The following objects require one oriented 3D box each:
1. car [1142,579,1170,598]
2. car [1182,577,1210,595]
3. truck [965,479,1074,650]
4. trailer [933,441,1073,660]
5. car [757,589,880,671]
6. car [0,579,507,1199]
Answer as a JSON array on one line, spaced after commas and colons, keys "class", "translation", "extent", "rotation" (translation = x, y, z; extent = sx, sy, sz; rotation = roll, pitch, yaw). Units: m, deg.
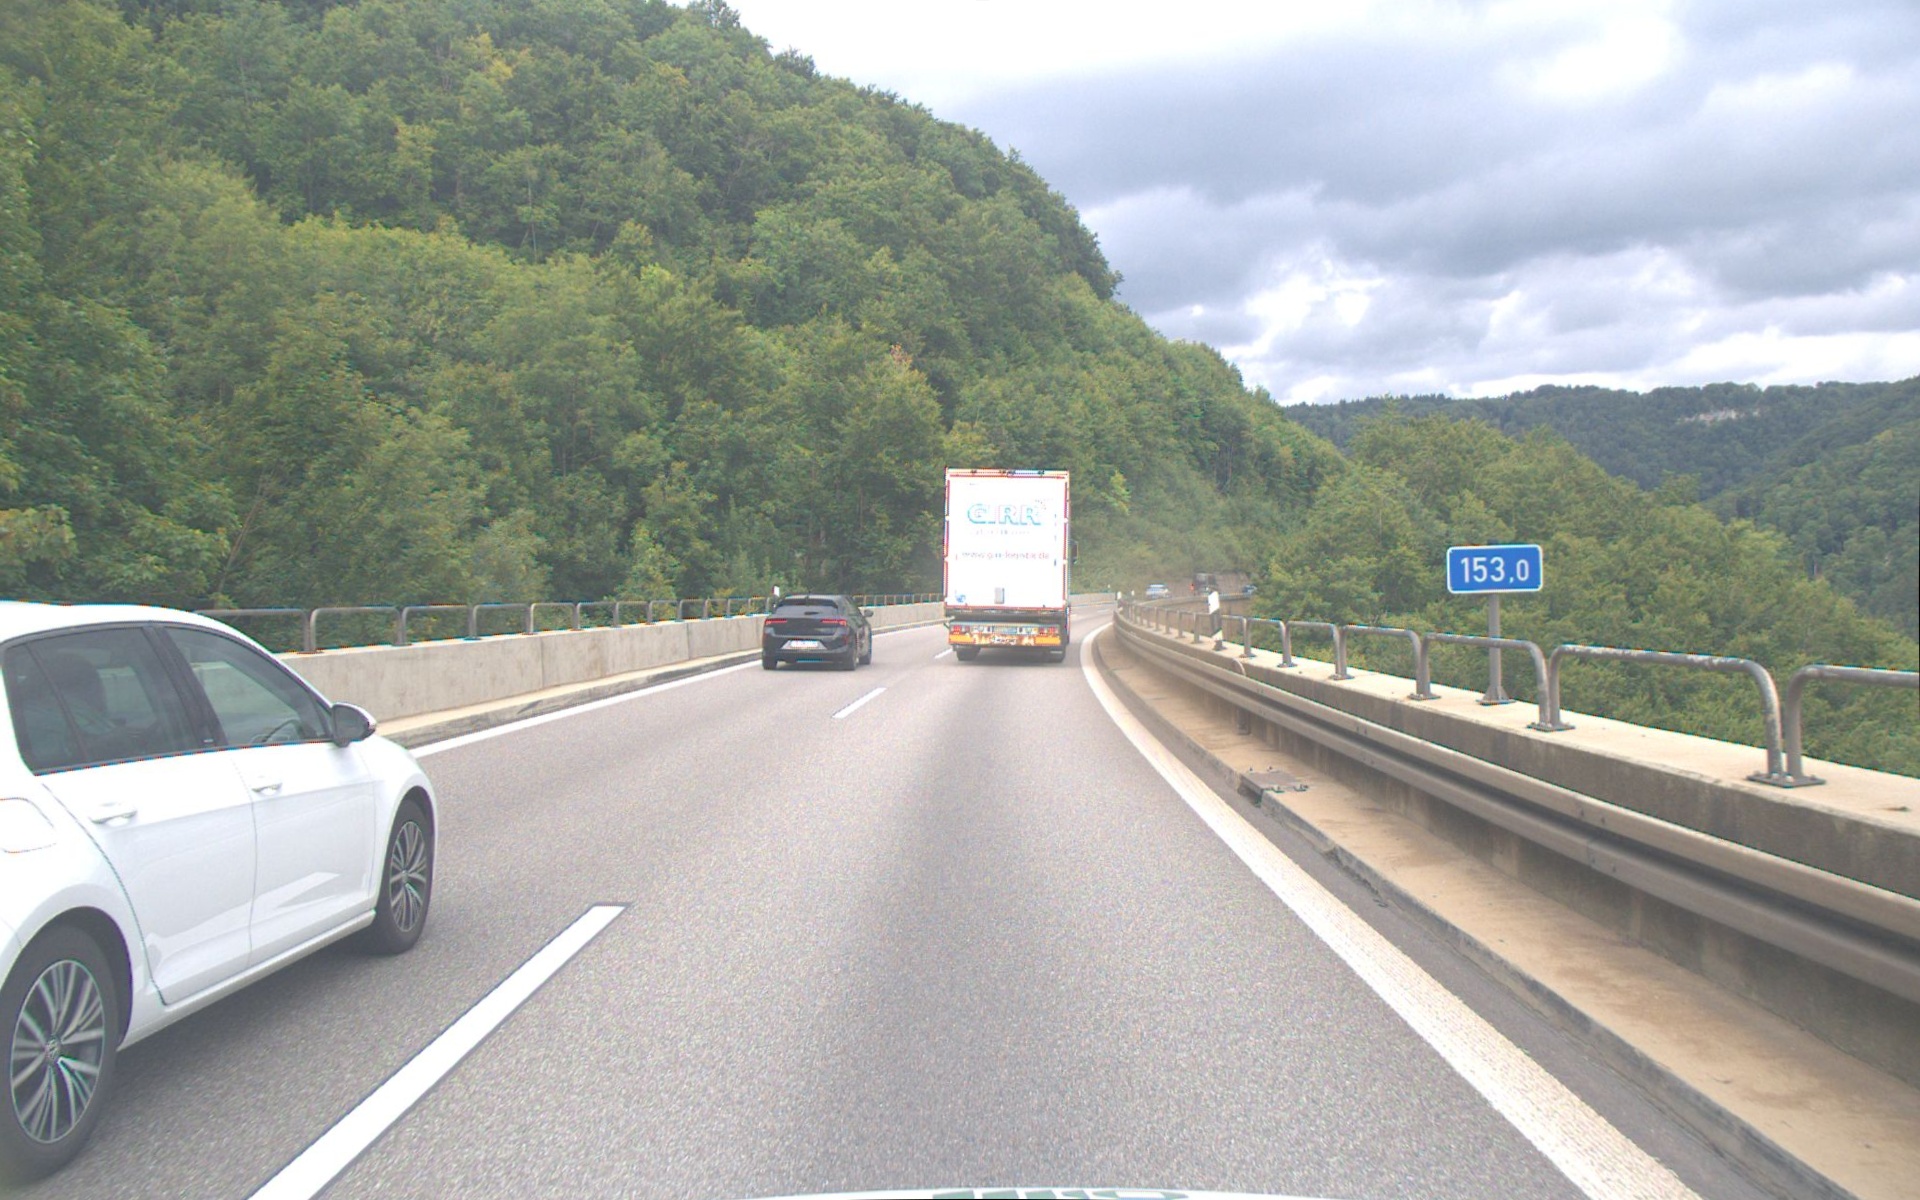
[{"class": "car", "translation": [17.881, -1.047, 150.989], "extent": [1.951, 1.593, 4.002], "rotation": [0, -1, 16]}, {"class": "car", "translation": [22.672, -1.324, 158.885], "extent": [1.952, 1.593, 4.001], "rotation": [0, -1, 20]}, {"class": "truck", "translation": [1.745, -0.895, 45.878], "extent": [2.754, 4.378, 6.262], "rotation": [-1, -1, 4]}, {"class": "trailer", "translation": [1.287, -0.943, 39.402], "extent": [2.754, 4.378, 12.250], "rotation": [-1, -1, 4]}, {"class": "car", "translation": [-2.695, 0.557, 32.467], "extent": [1.736, 1.486, 4.584], "rotation": [0, 0, 4]}, {"class": "car", "translation": [-3.073, 0.689, 5.453], "extent": [1.807, 1.507, 4.628], "rotation": [0, 0, 1]}]
